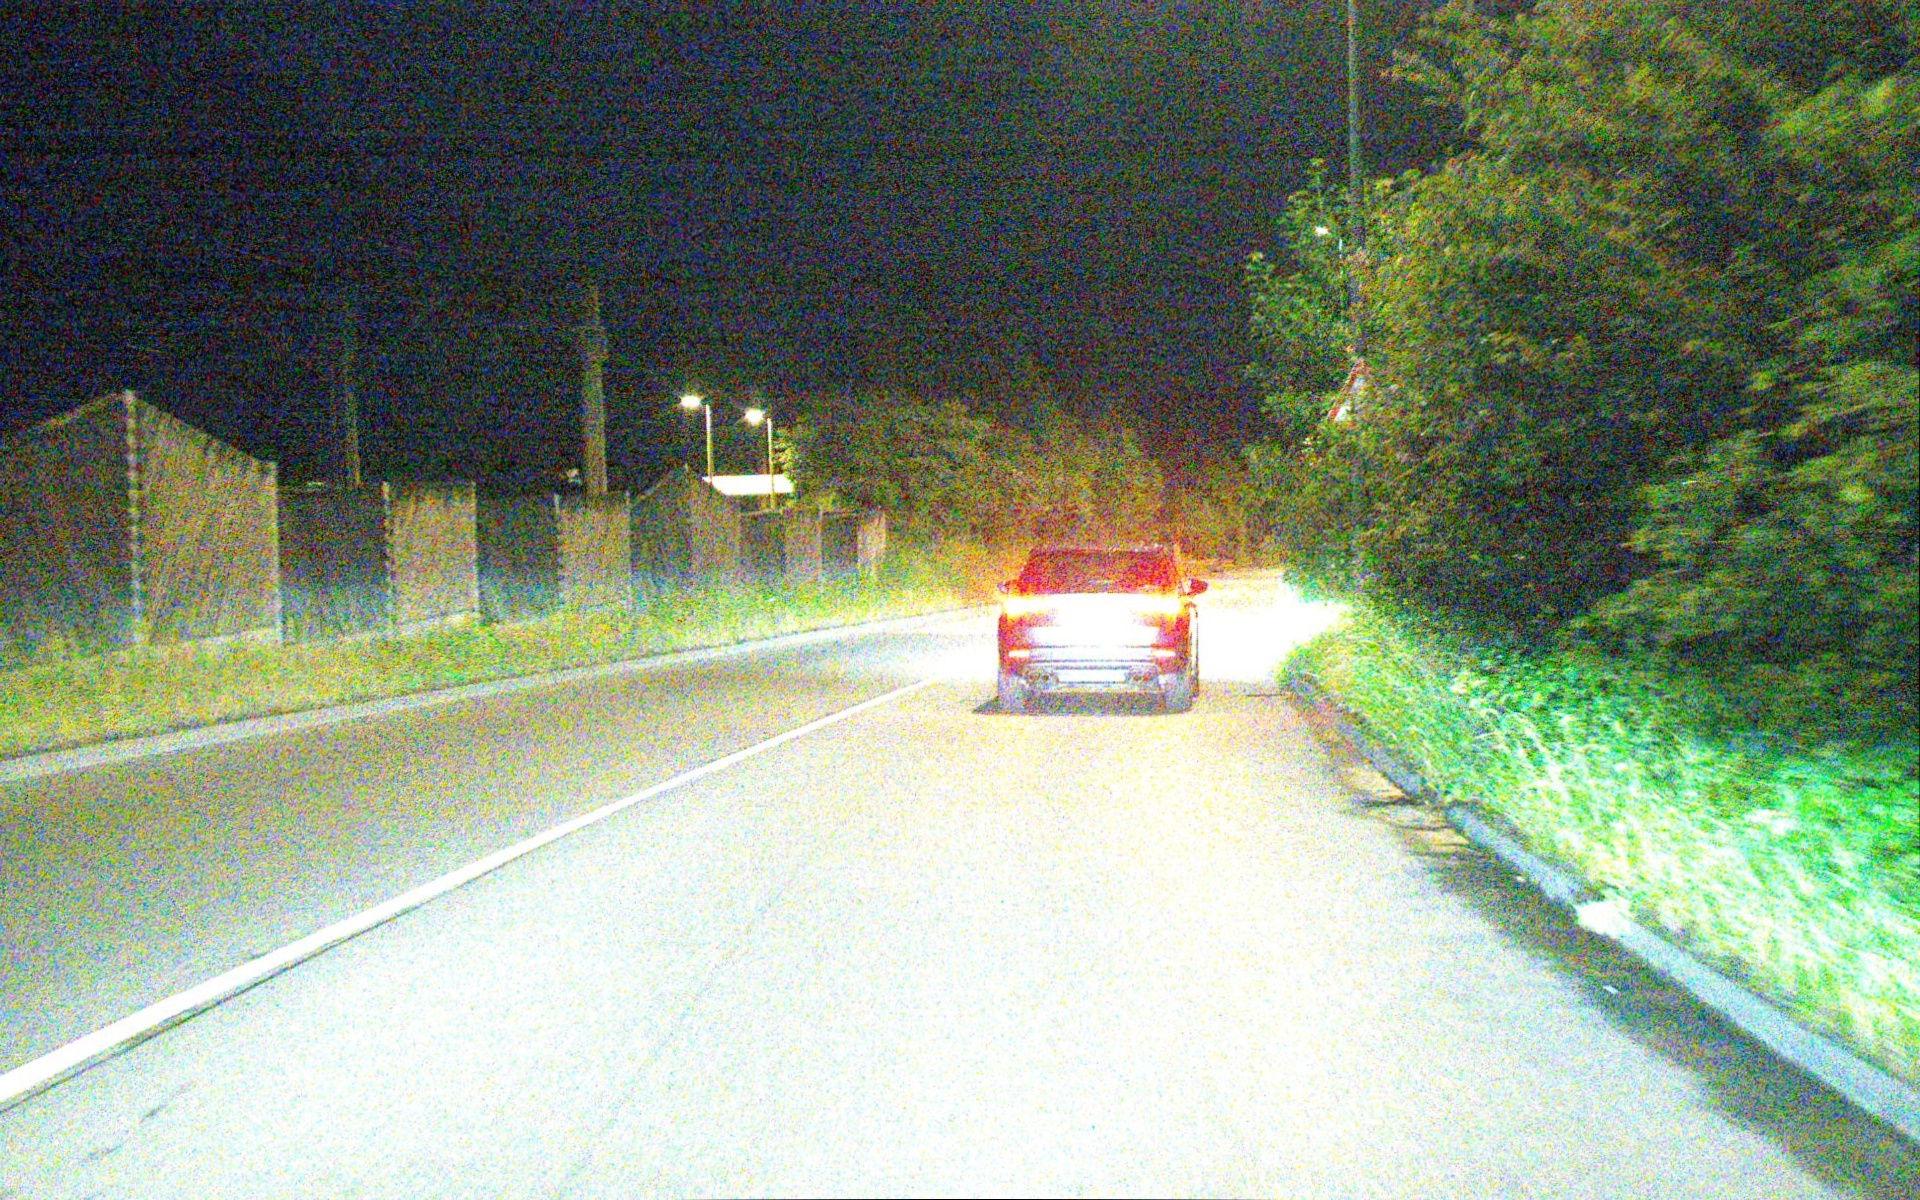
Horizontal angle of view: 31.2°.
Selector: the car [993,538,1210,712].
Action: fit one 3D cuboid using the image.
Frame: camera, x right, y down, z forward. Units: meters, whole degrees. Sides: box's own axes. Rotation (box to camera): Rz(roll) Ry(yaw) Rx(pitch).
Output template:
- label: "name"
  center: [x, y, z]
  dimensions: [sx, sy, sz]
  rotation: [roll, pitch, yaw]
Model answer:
- label: "car"
  center: [1.414, 0.190, 32.975]
  dimensions: [1.815, 1.568, 3.942]
  rotation: [0, 1, 6]
